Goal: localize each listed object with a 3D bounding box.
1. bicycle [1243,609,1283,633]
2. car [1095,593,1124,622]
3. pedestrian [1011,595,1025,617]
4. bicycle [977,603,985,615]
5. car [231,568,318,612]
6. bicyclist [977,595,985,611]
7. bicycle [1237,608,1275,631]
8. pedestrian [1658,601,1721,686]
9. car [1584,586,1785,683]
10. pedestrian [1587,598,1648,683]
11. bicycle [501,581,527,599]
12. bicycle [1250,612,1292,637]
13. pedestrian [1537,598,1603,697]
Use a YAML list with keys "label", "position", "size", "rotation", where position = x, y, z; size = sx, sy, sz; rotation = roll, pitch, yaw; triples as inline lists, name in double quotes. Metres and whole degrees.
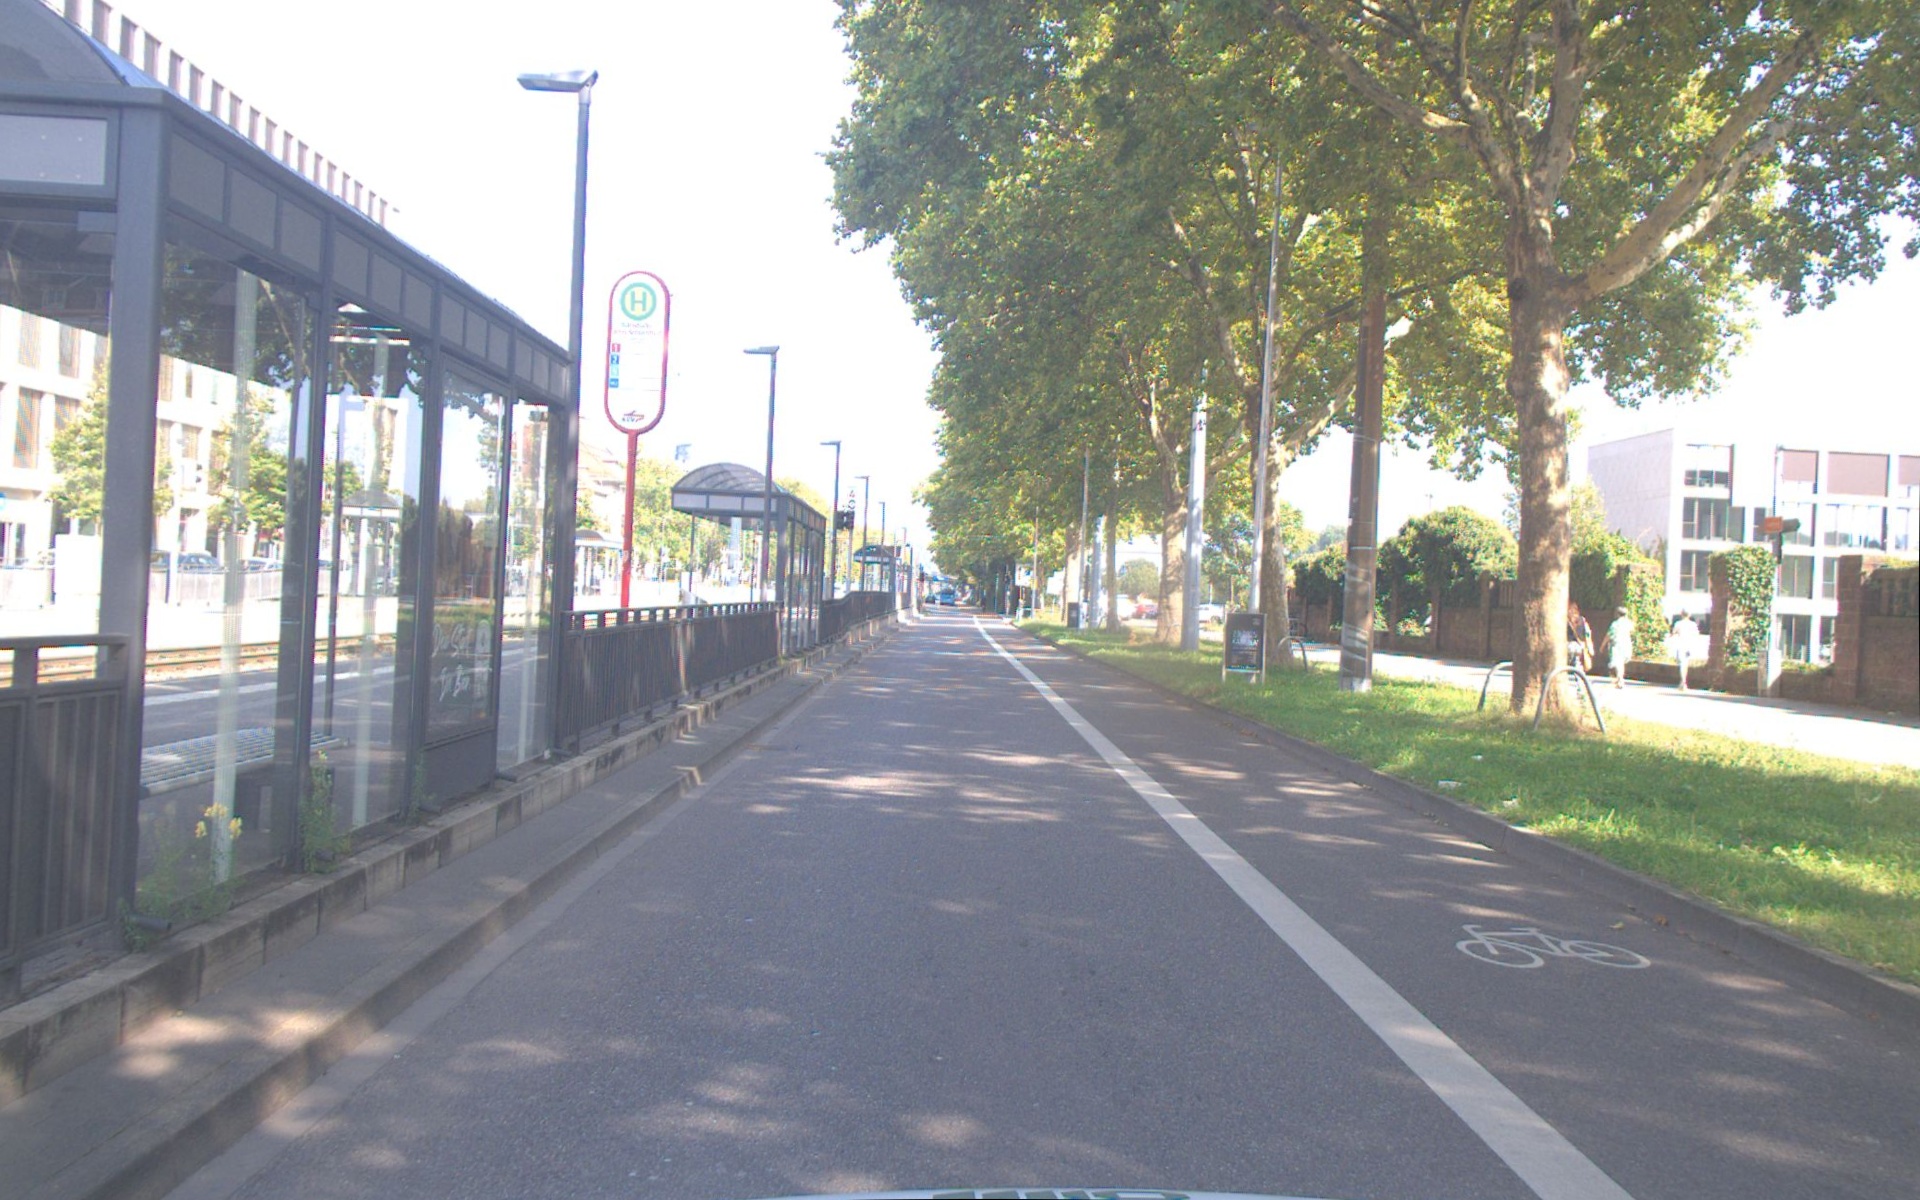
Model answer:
- label: "bicycle"
  position: [12.774, 0.898, 69.803]
  size: [1.621, 0.986, 0.506]
  rotation: [0, 0, 5]
- label: "car"
  position: [11.215, 0.571, 123.991]
  size: [1.687, 2.084, 4.461]
  rotation: [2, 0, 0]
- label: "pedestrian"
  position: [4.442, 0.429, 126.645]
  size: [0.614, 1.645, 0.841]
  rotation: [2, 0, 37]
- label: "bicycle"
  position: [1.974, 0.823, 155.841]
  size: [0.700, 1.127, 2.508]
  rotation: [3, 0, 0]
- label: "car"
  position: [-26.359, -0.391, 63.724]
  size: [1.609, 1.577, 4.222]
  rotation: [2, 0, -1]
- label: "bicyclist"
  position: [2.003, 0.294, 155.896]
  size: [0.691, 1.486, 1.009]
  rotation: [3, 0, 0]
- label: "bicycle"
  position: [13.286, 0.870, 74.302]
  size: [1.622, 0.986, 0.506]
  rotation: [0, 0, 2]
- label: "pedestrian"
  position: [14.188, 0.836, 32.199]
  size: [0.789, 1.632, 0.947]
  rotation: [1, 0, 0]
- label: "car"
  position: [19.998, 0.927, 45.767]
  size: [4.568, 2.358, 2.055]
  rotation: [3, 0, -1]
- label: "pedestrian"
  position: [12.873, 0.780, 32.399]
  size: [0.789, 1.632, 0.947]
  rotation: [1, 0, 0]
- label: "bicycle"
  position: [-17.440, -0.403, 64.671]
  size: [0.467, 0.674, 1.614]
  rotation: [2, 0, 4]
- label: "bicycle"
  position: [12.592, 1.000, 66.989]
  size: [1.621, 0.986, 0.506]
  rotation: [0, 0, 5]
- label: "pedestrian"
  position: [10.569, 0.811, 28.688]
  size: [0.789, 1.665, 0.947]
  rotation: [1, 0, 0]
